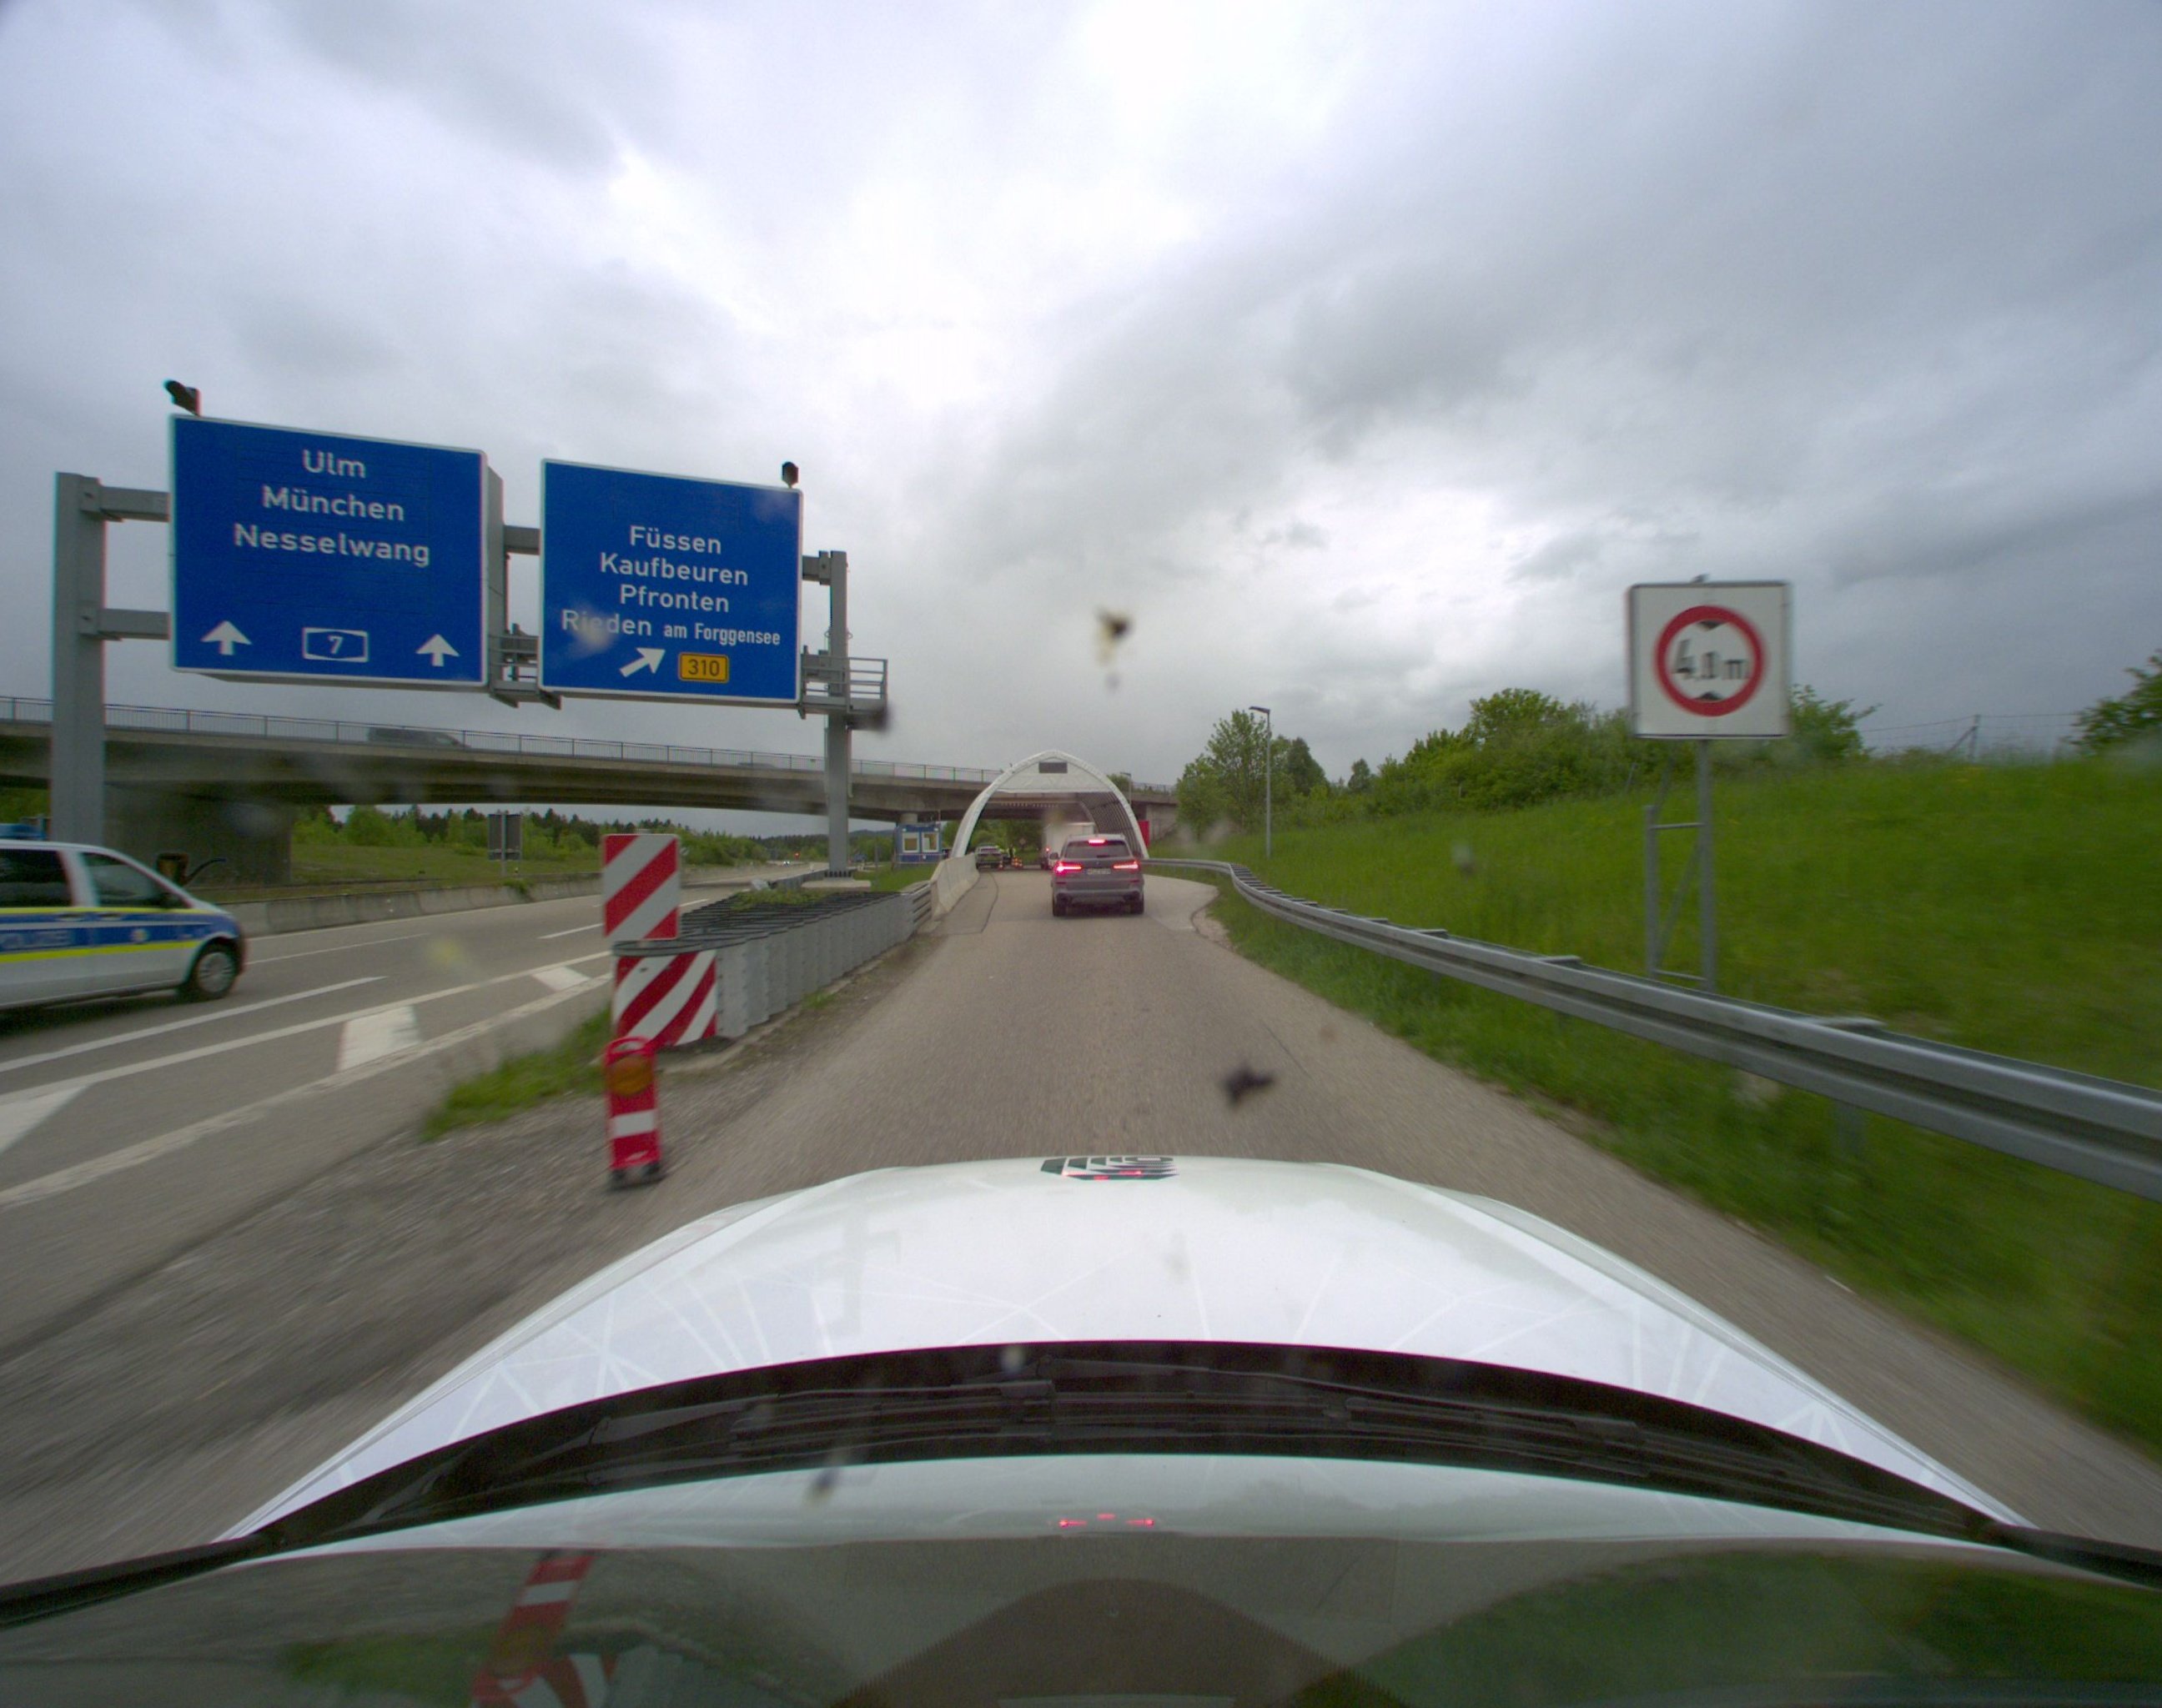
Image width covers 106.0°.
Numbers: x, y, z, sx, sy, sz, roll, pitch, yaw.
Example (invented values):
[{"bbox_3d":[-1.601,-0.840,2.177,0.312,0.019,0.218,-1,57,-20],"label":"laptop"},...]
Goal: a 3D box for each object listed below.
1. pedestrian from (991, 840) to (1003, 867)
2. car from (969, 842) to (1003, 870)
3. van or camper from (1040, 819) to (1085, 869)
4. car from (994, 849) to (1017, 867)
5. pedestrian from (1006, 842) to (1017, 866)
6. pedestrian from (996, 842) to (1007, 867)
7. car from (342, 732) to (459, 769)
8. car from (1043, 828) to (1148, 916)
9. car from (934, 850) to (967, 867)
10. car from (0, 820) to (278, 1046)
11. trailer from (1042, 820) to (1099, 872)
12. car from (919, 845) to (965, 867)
[{"bbox_3d":[-6.124,-0.030,59.388,0.720,1.945,0.687,-2,0,-10],"label":"pedestrian"},{"bbox_3d":[-6.558,0.103,55.836,1.994,1.772,3.752,-2,0,-11],"label":"car"},{"bbox_3d":[-1.195,-0.541,48.735,2.154,2.763,5.858,-2,0,-6],"label":"van or camper"},{"bbox_3d":[-8.178,0.418,87.946,1.707,1.854,3.979,-3,0,-16],"label":"car"},{"bbox_3d":[-5.127,0.011,59.761,0.648,1.775,0.603,-2,0,-12],"label":"pedestrian"},{"bbox_3d":[-5.717,0.050,58.522,0.720,1.775,0.687,-2,0,-10],"label":"pedestrian"},{"bbox_3d":[-38.821,-5.886,46.652,4.963,1.648,1.977,-2,0,-38],"label":"car"},{"bbox_3d":[0.458,0.363,18.620,1.983,1.719,4.007,-2,0,6],"label":"car"},{"bbox_3d":[-11.444,0.392,71.451,1.526,1.442,3.279,-2,0,-36],"label":"car"},{"bbox_3d":[-10.955,0.742,7.842,2.289,2.013,5.025,-2,0,-14],"label":"car"},{"bbox_3d":[-0.655,-0.360,42.445,2.276,2.430,6.802,-2,0,-6],"label":"trailer"},{"bbox_3d":[-13.397,0.176,78.503,3.968,1.854,1.712,-2,0,5],"label":"car"}]
